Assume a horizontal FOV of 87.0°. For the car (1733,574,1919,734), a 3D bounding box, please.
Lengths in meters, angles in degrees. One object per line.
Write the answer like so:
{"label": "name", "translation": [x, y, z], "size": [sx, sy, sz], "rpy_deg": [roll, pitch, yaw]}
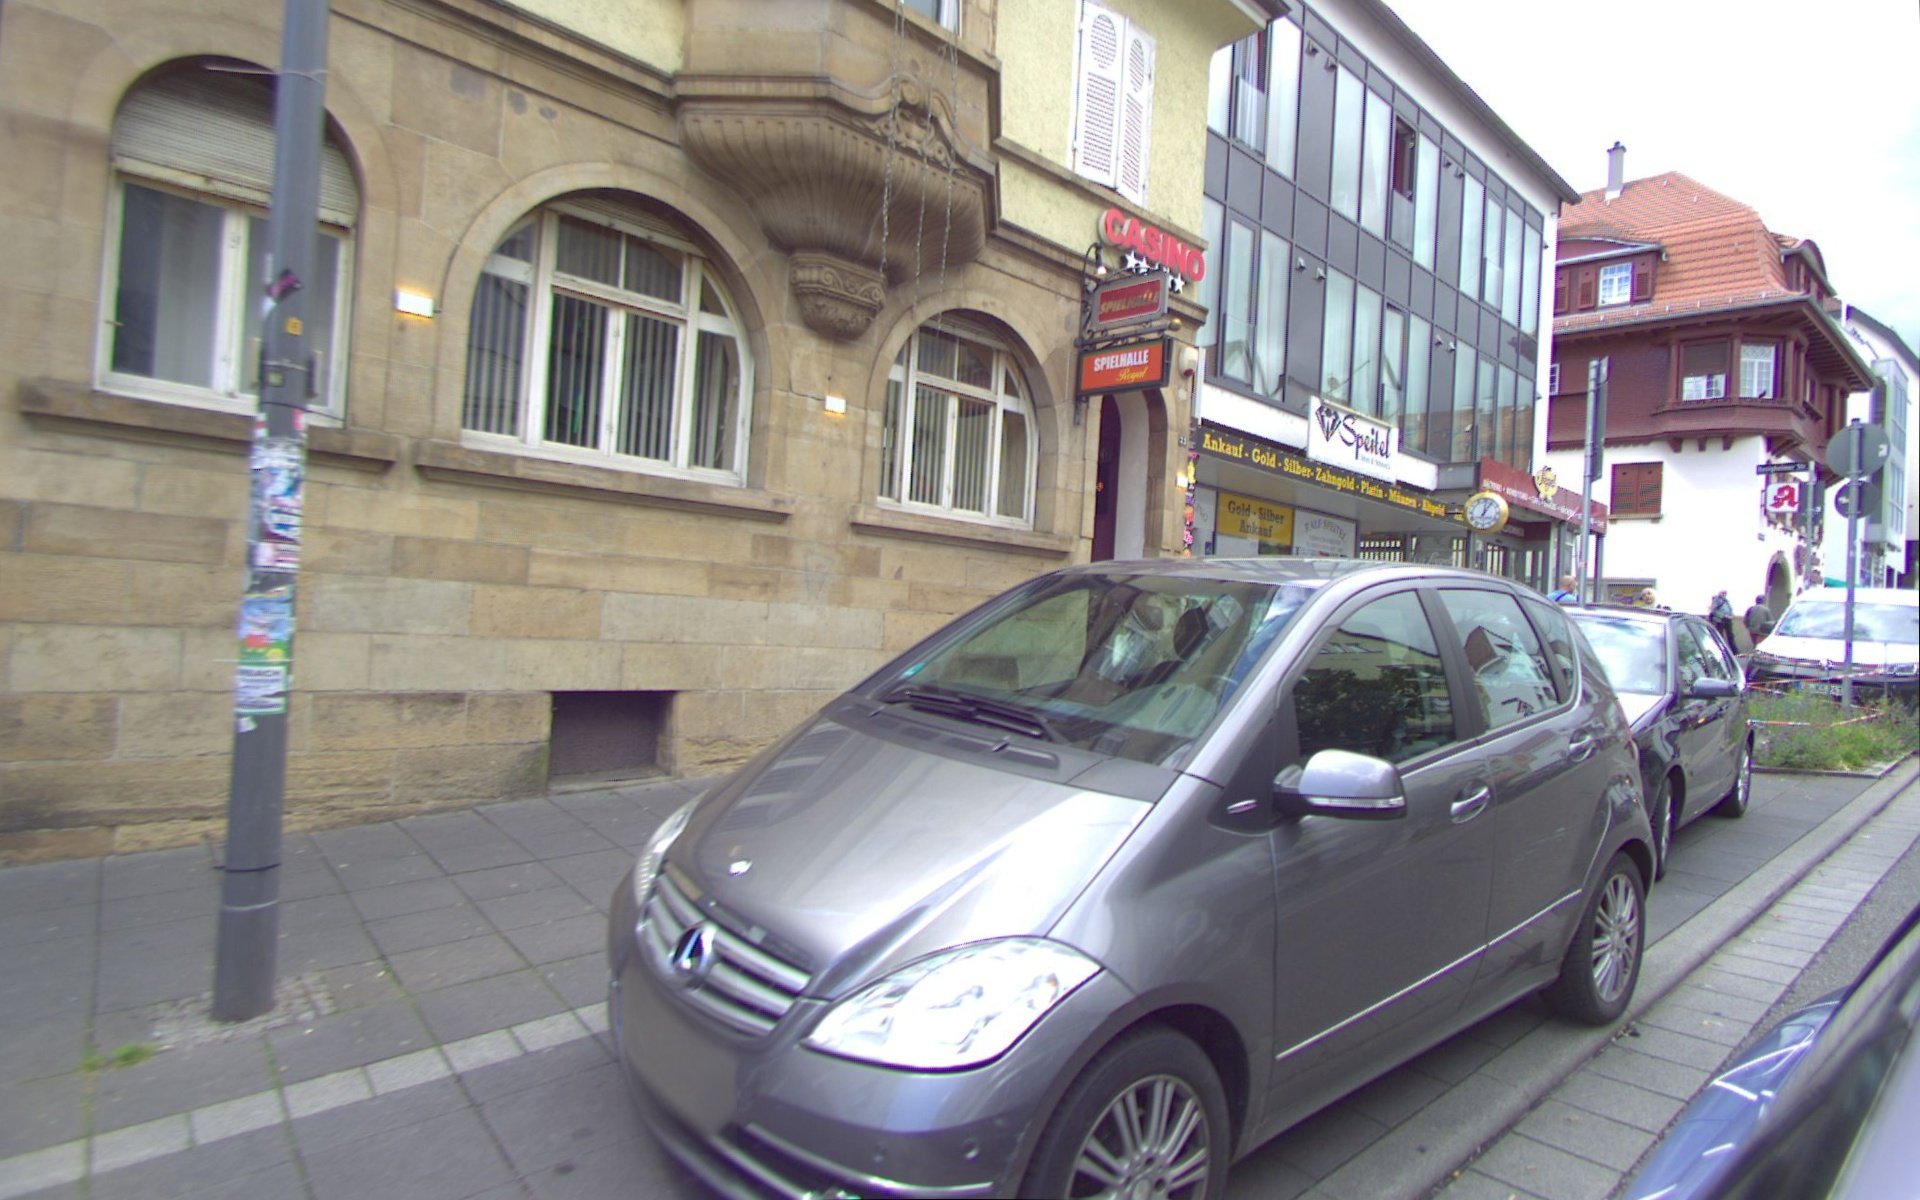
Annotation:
{"label": "car", "translation": [12.277, 0.599, 13.577], "size": [4.645, 1.822, 1.882], "rpy_deg": [0, 1, -38]}

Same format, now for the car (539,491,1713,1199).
{"label": "car", "translation": [0.805, 0.607, 3.363], "size": [3.730, 1.627, 1.753], "rpy_deg": [0, 3, -38]}

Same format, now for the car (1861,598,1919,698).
{"label": "car", "translation": [16.160, 0.744, 16.597], "size": [3.933, 1.486, 1.705], "rpy_deg": [0, 2, -43]}

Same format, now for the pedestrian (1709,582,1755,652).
{"label": "pedestrian", "translation": [20.366, 0.427, 26.700], "size": [0.803, 1.791, 0.776], "rpy_deg": [0, 1, -39]}

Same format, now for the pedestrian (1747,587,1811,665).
{"label": "pedestrian", "translation": [18.868, 0.578, 23.314], "size": [0.927, 1.728, 0.867], "rpy_deg": [0, 2, -35]}

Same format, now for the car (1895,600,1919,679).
{"label": "car", "translation": [20.902, 0.792, 20.971], "size": [3.884, 1.575, 1.807], "rpy_deg": [0, 0, -40]}

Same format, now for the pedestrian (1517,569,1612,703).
{"label": "pedestrian", "translation": [8.352, 0.464, 13.978], "size": [1.034, 1.748, 0.798], "rpy_deg": [0, 2, -41]}

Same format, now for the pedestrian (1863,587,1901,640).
{"label": "pedestrian", "translation": [31.338, 0.454, 34.393], "size": [0.612, 1.789, 0.704], "rpy_deg": [1, 1, -15]}

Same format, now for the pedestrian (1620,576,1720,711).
{"label": "pedestrian", "translation": [9.348, 0.541, 13.336], "size": [0.786, 1.686, 0.827], "rpy_deg": [0, 1, -35]}

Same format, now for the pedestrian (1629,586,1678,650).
{"label": "pedestrian", "translation": [18.546, 0.465, 27.074], "size": [0.853, 1.665, 0.775], "rpy_deg": [0, 2, -35]}

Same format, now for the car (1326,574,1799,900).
{"label": "car", "translation": [4.238, 0.641, 6.866], "size": [3.810, 1.527, 1.750], "rpy_deg": [0, 3, -44]}
